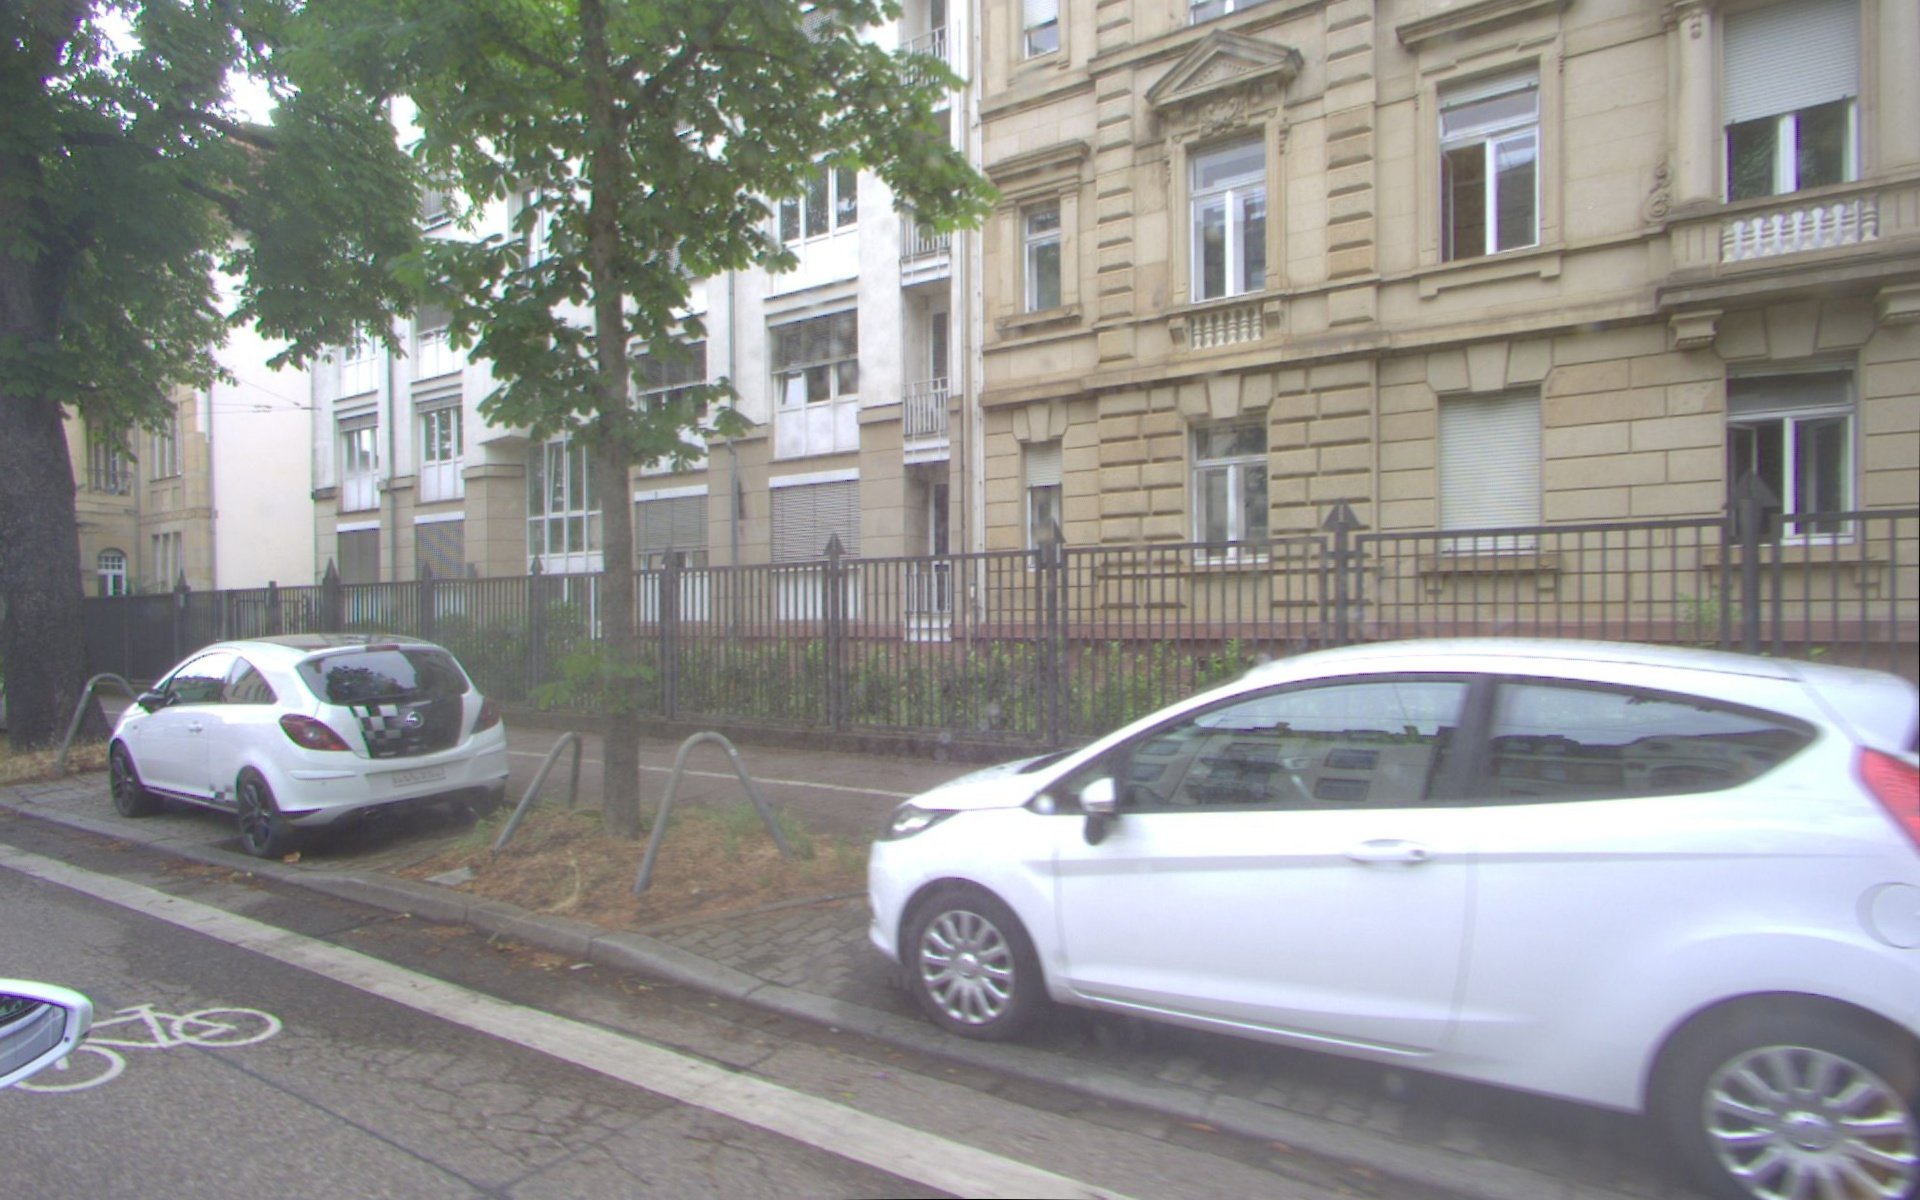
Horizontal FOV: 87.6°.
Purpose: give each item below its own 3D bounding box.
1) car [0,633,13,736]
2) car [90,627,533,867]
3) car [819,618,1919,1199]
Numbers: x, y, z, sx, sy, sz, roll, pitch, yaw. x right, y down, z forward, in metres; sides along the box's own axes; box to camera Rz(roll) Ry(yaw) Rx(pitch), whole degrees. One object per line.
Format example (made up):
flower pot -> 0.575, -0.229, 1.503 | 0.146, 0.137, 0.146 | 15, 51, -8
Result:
car -> -15.374, 1.208, 14.361 | 4.167, 1.418, 1.598 | -1, 1, 32
car -> -5.296, 0.982, 8.065 | 3.724, 1.455, 1.598 | -1, 1, 33
car -> 1.443, 0.832, 3.711 | 3.711, 1.455, 1.623 | -1, 1, 32
